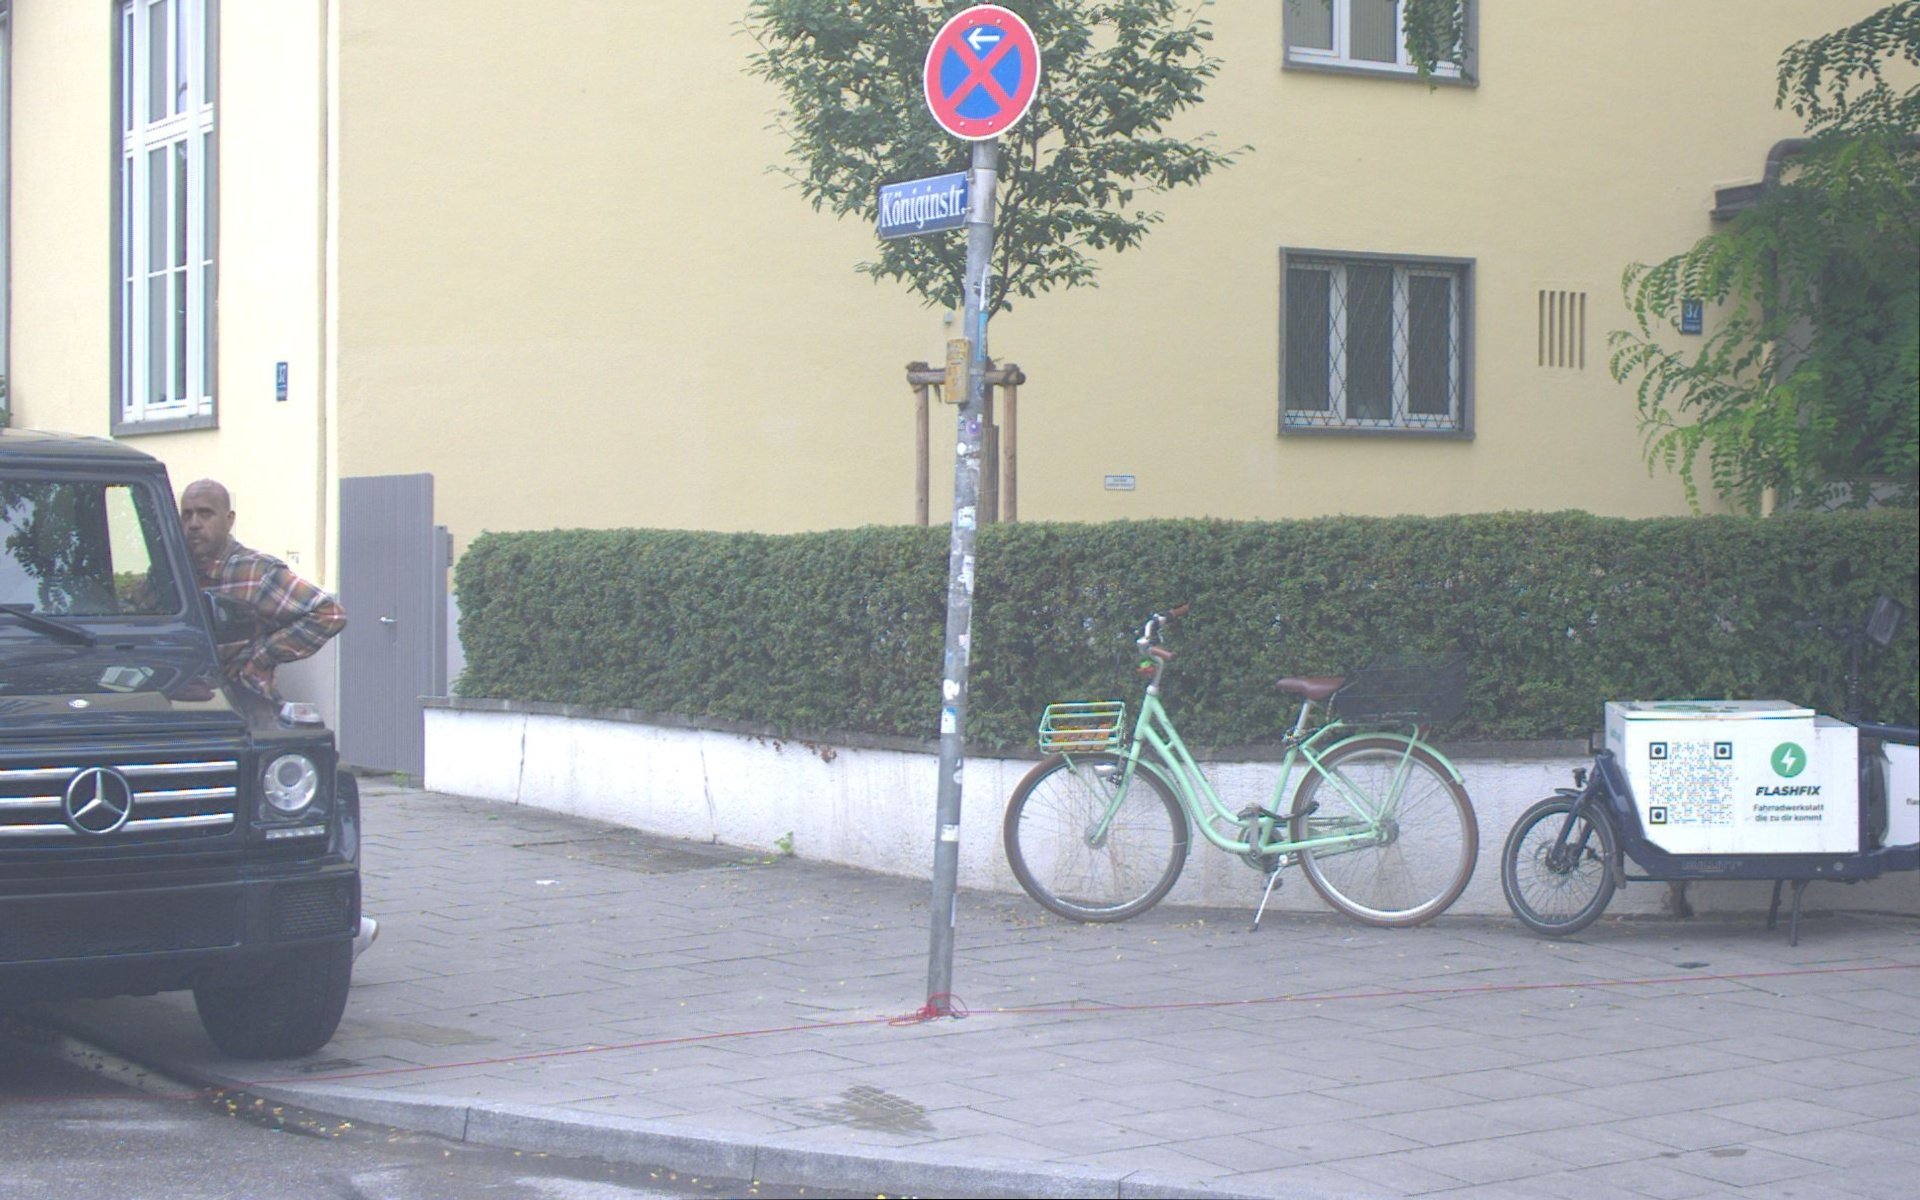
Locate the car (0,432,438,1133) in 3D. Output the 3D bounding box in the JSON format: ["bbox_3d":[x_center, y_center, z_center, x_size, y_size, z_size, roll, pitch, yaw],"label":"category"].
[{"bbox_3d":[-3.514,0.445,11.352,1.873,1.881,4.619,-1,1,-32],"label":"car"}]

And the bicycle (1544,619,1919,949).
[{"bbox_3d":[3.202,0.632,12.113,2.167,1.112,0.640,0,1,-2],"label":"bicycle"}]

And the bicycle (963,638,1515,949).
[{"bbox_3d":[1.019,0.707,12.720,1.946,1.081,0.528,-2,0,25],"label":"bicycle"}]

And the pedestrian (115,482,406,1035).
[{"bbox_3d":[-2.347,0.489,11.469,0.848,1.751,0.954,-1,1,-17],"label":"pedestrian"}]
